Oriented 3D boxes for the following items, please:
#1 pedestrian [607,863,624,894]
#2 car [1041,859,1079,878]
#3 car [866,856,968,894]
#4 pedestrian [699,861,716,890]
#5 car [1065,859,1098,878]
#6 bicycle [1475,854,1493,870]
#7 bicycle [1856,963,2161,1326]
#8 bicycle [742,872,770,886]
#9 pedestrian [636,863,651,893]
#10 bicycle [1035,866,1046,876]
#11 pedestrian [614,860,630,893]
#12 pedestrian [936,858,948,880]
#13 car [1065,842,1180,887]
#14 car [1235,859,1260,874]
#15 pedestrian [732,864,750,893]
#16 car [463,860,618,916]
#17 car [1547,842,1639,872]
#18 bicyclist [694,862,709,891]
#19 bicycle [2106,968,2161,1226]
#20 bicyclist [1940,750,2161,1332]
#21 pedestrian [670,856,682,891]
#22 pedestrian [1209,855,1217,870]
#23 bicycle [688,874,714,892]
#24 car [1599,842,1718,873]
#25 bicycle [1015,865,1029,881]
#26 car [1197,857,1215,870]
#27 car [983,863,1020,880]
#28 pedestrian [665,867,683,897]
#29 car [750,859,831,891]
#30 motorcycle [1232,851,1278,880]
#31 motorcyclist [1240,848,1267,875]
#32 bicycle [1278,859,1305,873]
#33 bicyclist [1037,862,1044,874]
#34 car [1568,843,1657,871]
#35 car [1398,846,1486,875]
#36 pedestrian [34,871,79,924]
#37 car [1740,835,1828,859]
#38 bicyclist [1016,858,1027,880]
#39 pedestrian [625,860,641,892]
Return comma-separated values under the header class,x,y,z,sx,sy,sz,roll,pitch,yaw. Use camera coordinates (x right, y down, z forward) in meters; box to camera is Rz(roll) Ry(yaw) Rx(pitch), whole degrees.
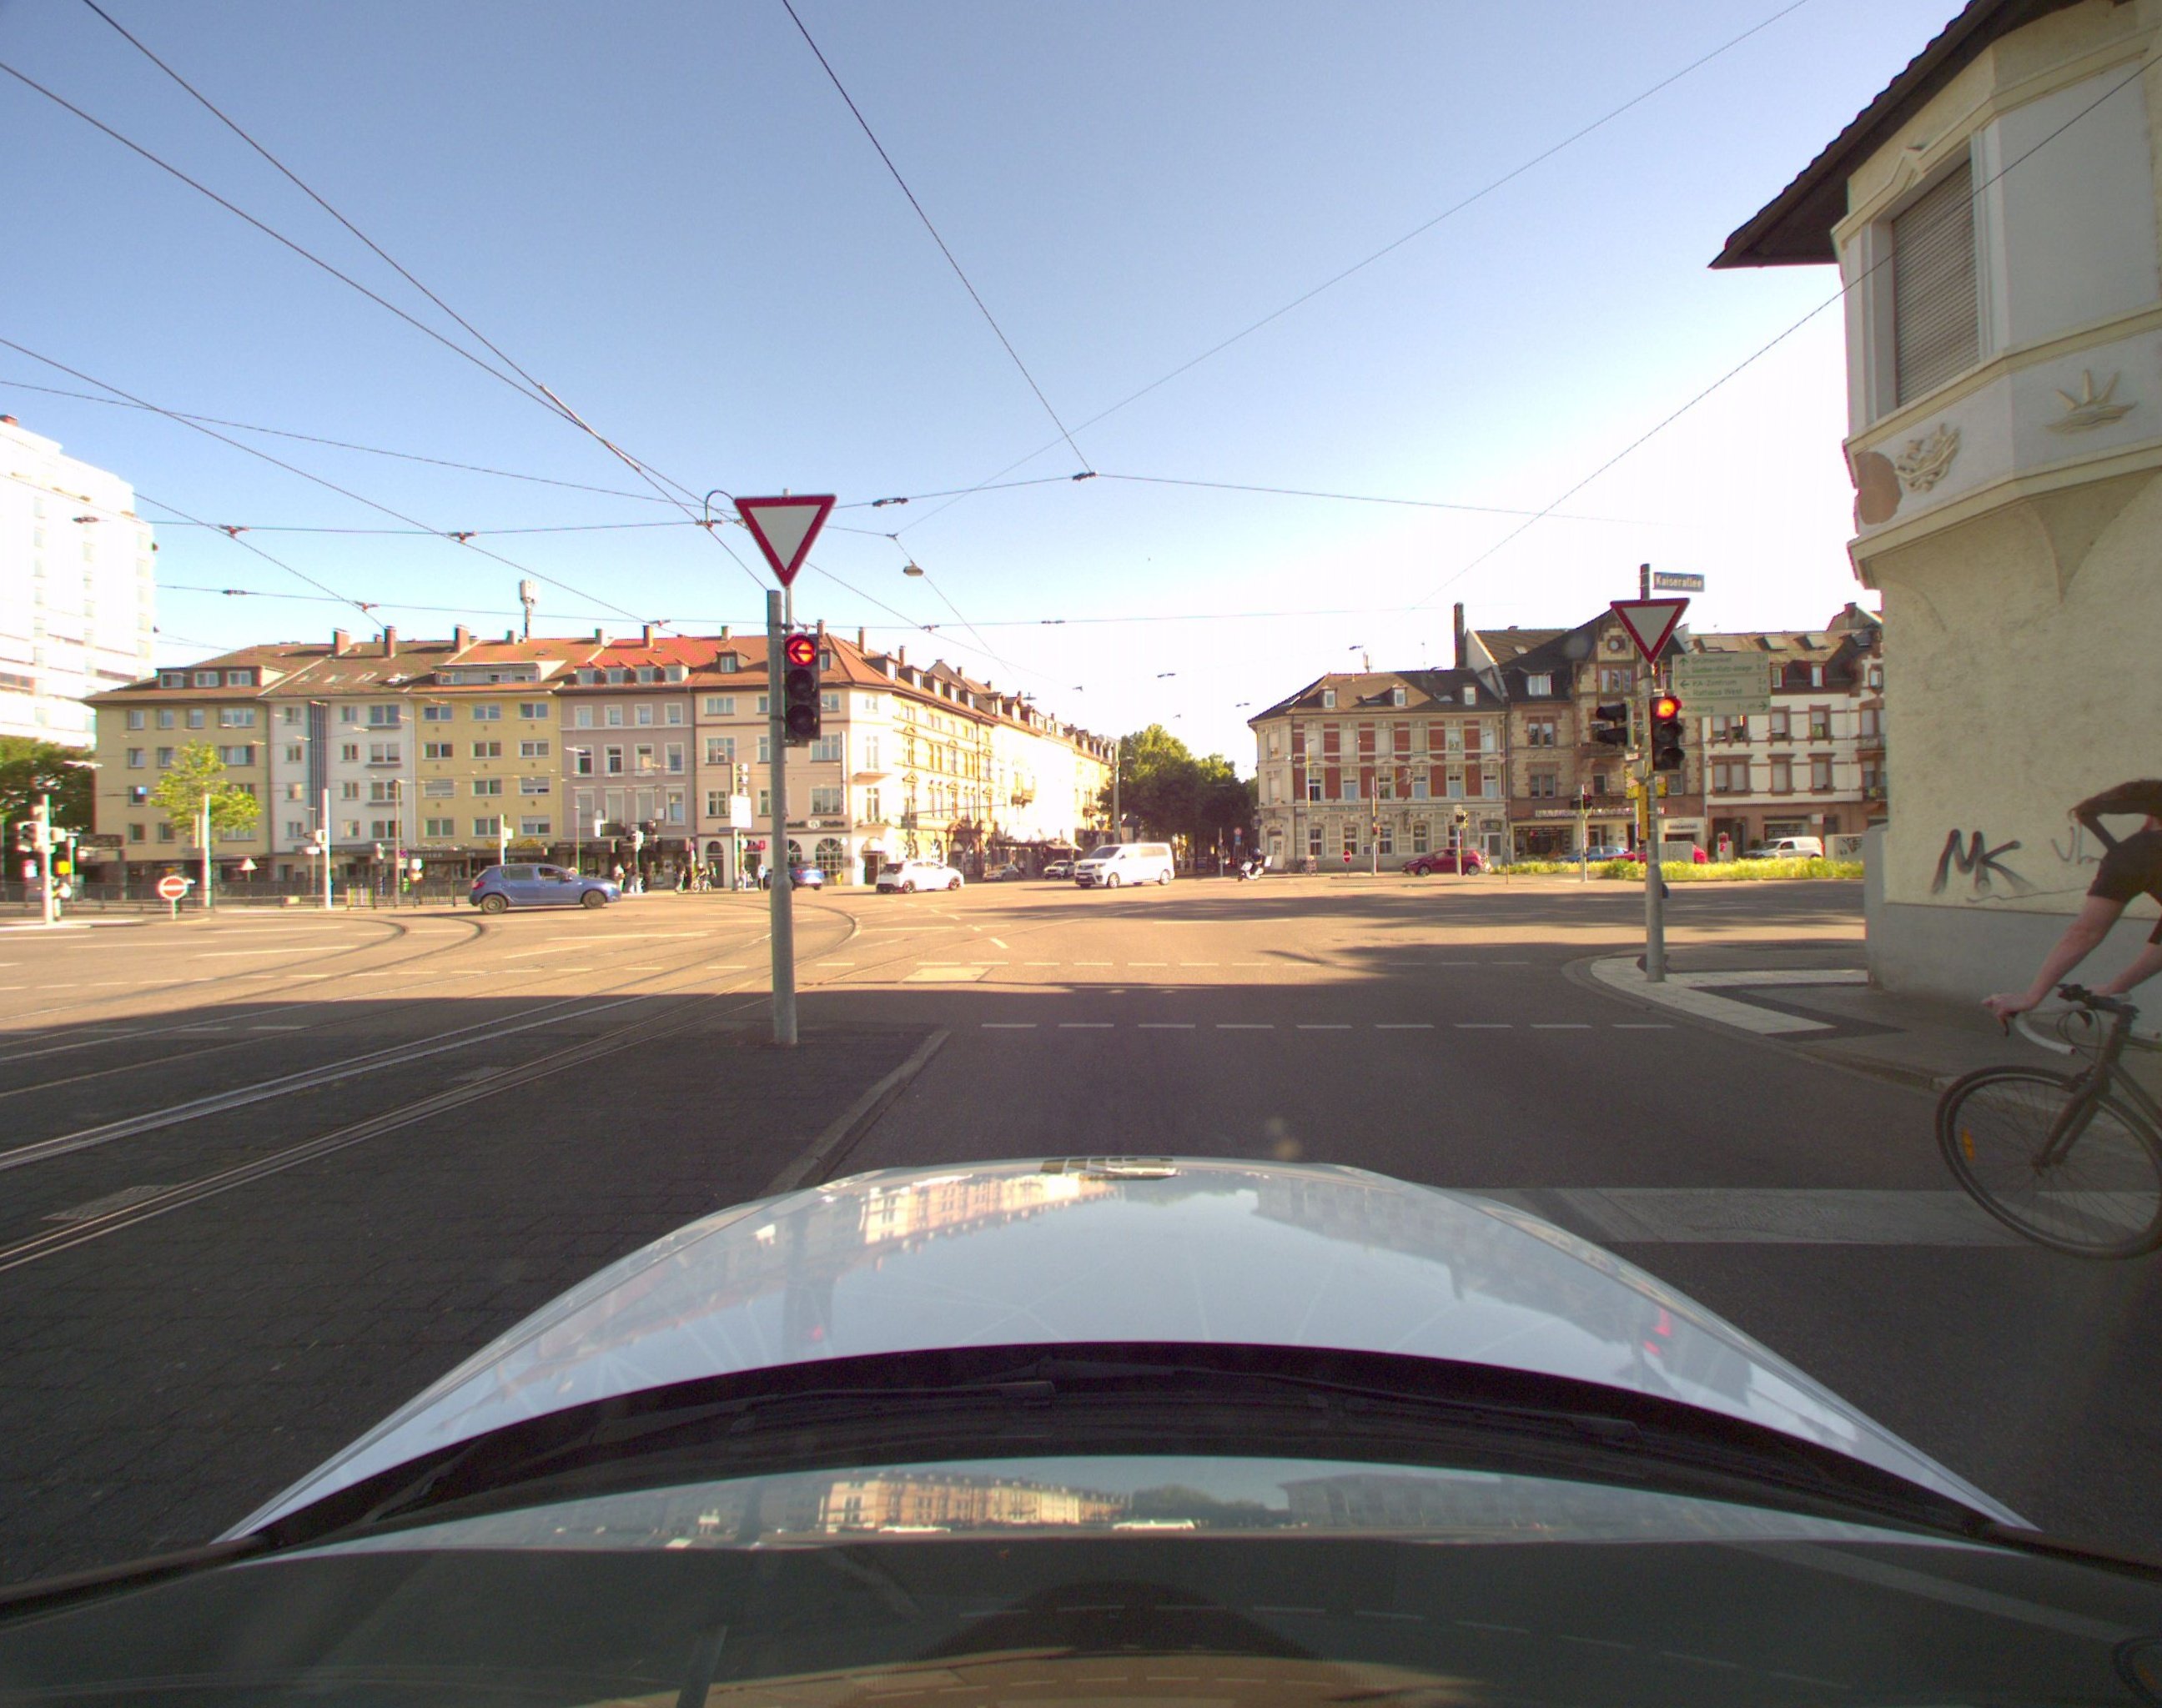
class,x,y,z,sx,sy,sz,roll,pitch,yaw
pedestrian,-25.050,1.297,43.833,0.582,1.648,0.616,0,-1,1
car,-1.686,1.177,67.489,1.788,1.585,4.179,-1,-1,19
car,-7.080,0.875,35.514,1.874,1.454,4.034,-2,1,39
pedestrian,-20.955,1.194,45.713,0.580,1.648,0.840,0,-1,1
car,0.080,1.288,73.814,1.809,1.685,3.893,-1,-1,18
bicycle,25.952,0.531,52.445,0.785,1.016,2.221,-1,-1,20
bicycle,3.582,0.962,2.636,0.480,0.991,1.783,0,-1,2
bicycle,-22.993,1.753,57.614,1.694,0.983,0.611,0,-1,1
pedestrian,-22.575,1.236,42.023,0.489,1.492,0.556,0,-1,1
bicycle,-3.534,1.474,71.214,0.469,0.922,1.458,-1,-1,17
pedestrian,-23.736,1.160,42.133,0.520,1.648,0.498,0,-1,1
pedestrian,-10.692,1.141,62.756,0.562,1.642,0.797,-1,-1,25
car,1.900,0.426,35.911,5.245,1.854,1.976,0,-1,-43
car,16.842,1.255,82.360,1.741,1.556,4.021,-1,-1,22
pedestrian,-19.070,1.351,45.712,0.666,1.594,0.815,0,-1,1
car,-16.951,1.039,25.763,3.933,1.504,1.772,-2,-1,-32
car,28.323,0.178,45.127,3.970,1.622,1.806,0,-1,3
bicyclist,-23.259,1.383,49.929,0.618,1.790,0.616,0,-1,7
bicycle,4.452,0.955,2.457,0.501,0.983,1.783,0,-1,2
bicyclist,3.578,0.567,2.640,0.587,1.767,0.936,0,-1,2
pedestrian,-21.369,1.002,42.982,0.530,1.823,0.671,0,-1,-25
pedestrian,17.014,1.080,105.104,0.940,2.014,0.826,0,-1,0
bicycle,-23.261,1.784,49.903,0.618,1.030,1.758,0,-1,7
car,29.842,0.162,42.179,4.839,1.469,1.805,-1,1,2
bicycle,-4.749,1.486,65.447,0.561,1.254,1.564,-1,-1,17
car,17.875,1.346,116.382,1.978,1.684,4.018,-1,-1,17
car,-6.584,1.413,67.489,1.647,1.374,3.909,-1,-1,17
pedestrian,-22.409,1.550,44.844,0.571,1.648,0.727,0,-1,1
car,-15.391,1.104,43.110,4.145,1.575,1.843,-1,0,32
motorcycle,8.347,0.538,39.057,2.146,1.333,0.790,0,-1,-26
motorcyclist,8.278,0.353,39.027,1.019,1.300,0.782,0,-1,-26
bicycle,14.703,0.827,56.930,1.789,0.963,0.606,-1,-1,16
bicyclist,-3.513,1.256,71.302,0.469,1.040,0.540,-1,-1,17
car,30.934,0.178,47.505,3.970,1.622,1.806,0,-1,3
car,18.692,0.315,42.267,3.854,1.426,1.596,-1,0,2
pedestrian,-31.721,1.335,25.217,0.770,1.609,0.605,0,-1,-44
car,45.203,-0.442,52.443,3.961,1.438,1.874,0,-1,5
bicyclist,-4.778,1.211,65.390,0.561,1.804,0.918,-1,-1,17
pedestrian,-23.179,1.117,42.121,0.520,1.648,0.498,0,-1,1
